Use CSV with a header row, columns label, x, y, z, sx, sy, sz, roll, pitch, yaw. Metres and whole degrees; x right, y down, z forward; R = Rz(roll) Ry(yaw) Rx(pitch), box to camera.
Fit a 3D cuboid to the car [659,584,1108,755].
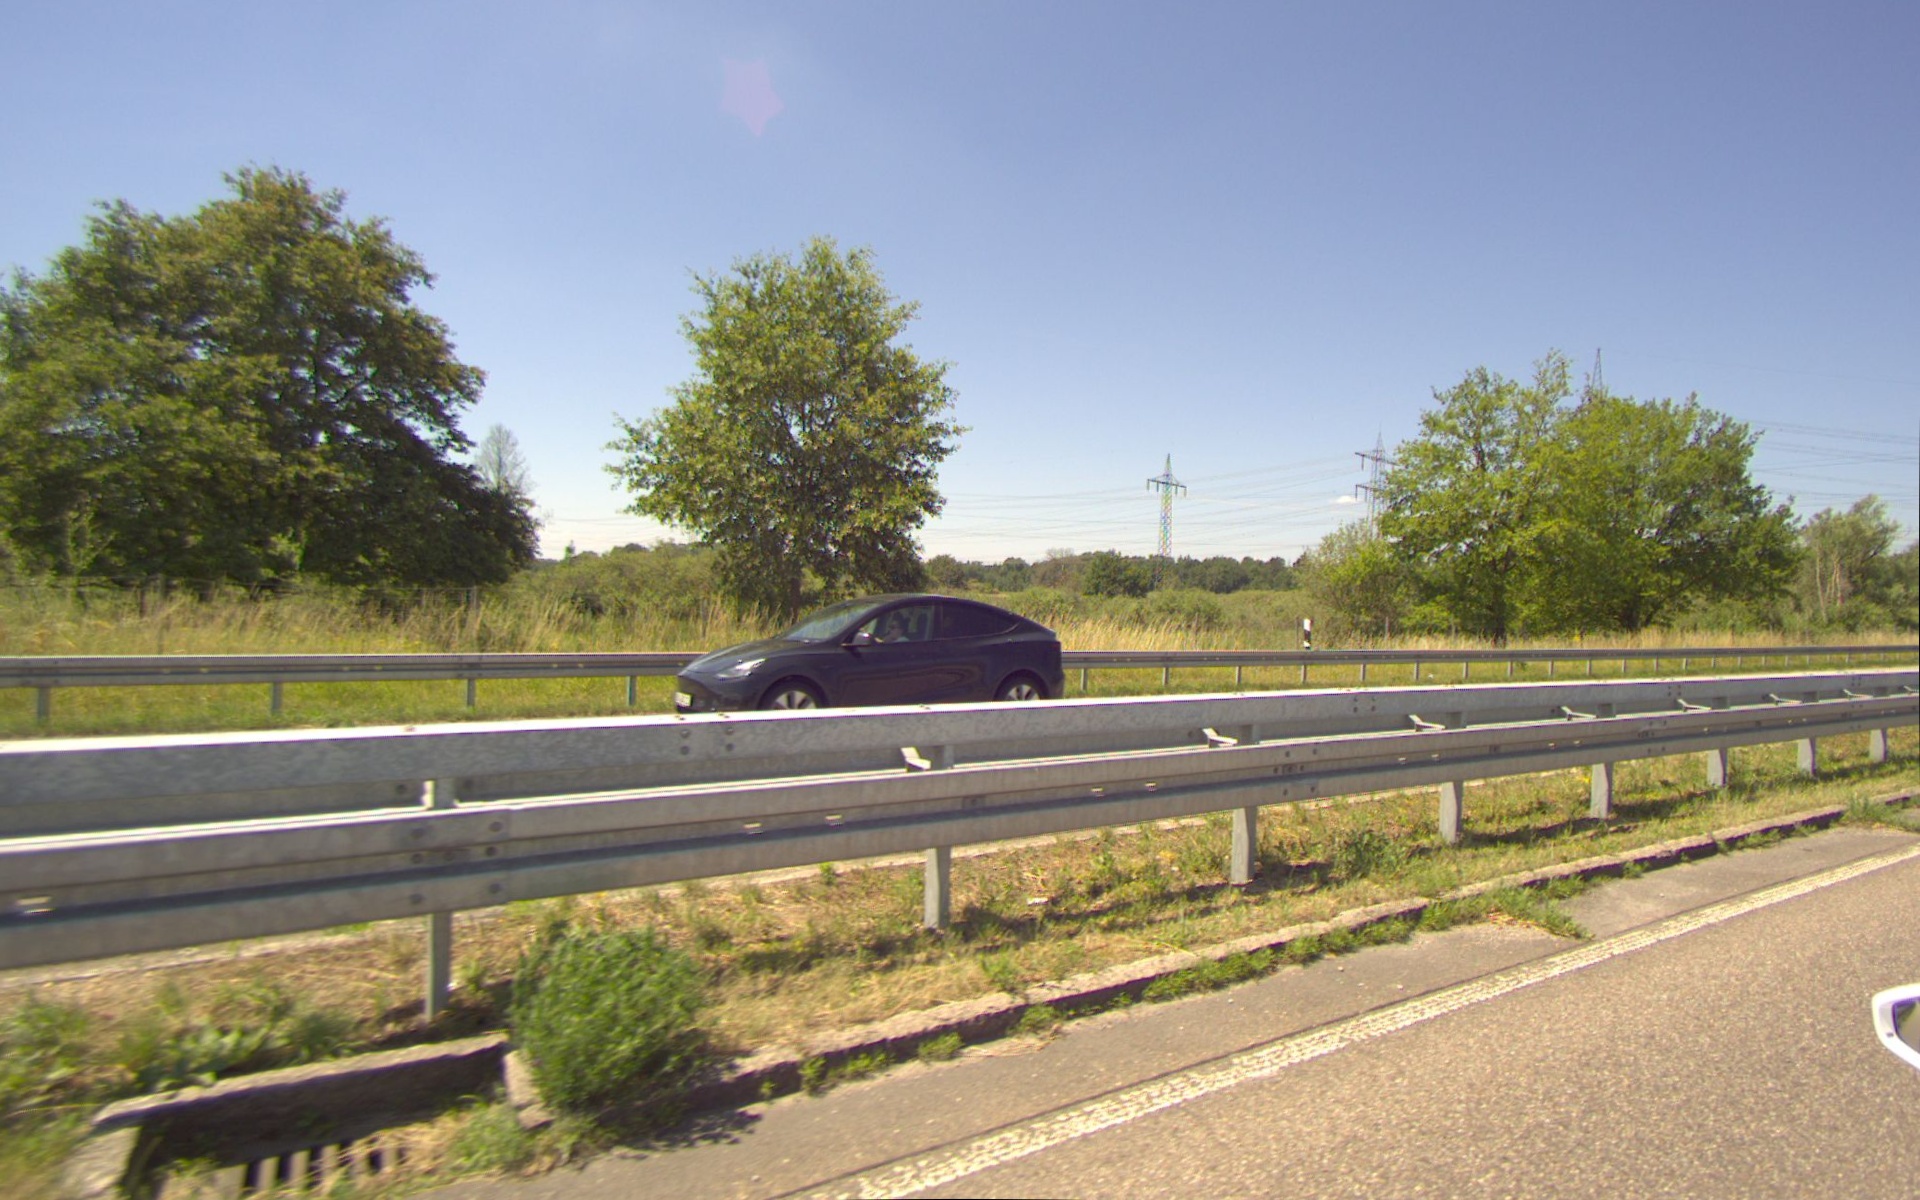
label,x,y,z,sx,sy,sz,roll,pitch,yaw
car,-0.781,0.701,11.778,4.911,1.630,1.981,1,0,-34
